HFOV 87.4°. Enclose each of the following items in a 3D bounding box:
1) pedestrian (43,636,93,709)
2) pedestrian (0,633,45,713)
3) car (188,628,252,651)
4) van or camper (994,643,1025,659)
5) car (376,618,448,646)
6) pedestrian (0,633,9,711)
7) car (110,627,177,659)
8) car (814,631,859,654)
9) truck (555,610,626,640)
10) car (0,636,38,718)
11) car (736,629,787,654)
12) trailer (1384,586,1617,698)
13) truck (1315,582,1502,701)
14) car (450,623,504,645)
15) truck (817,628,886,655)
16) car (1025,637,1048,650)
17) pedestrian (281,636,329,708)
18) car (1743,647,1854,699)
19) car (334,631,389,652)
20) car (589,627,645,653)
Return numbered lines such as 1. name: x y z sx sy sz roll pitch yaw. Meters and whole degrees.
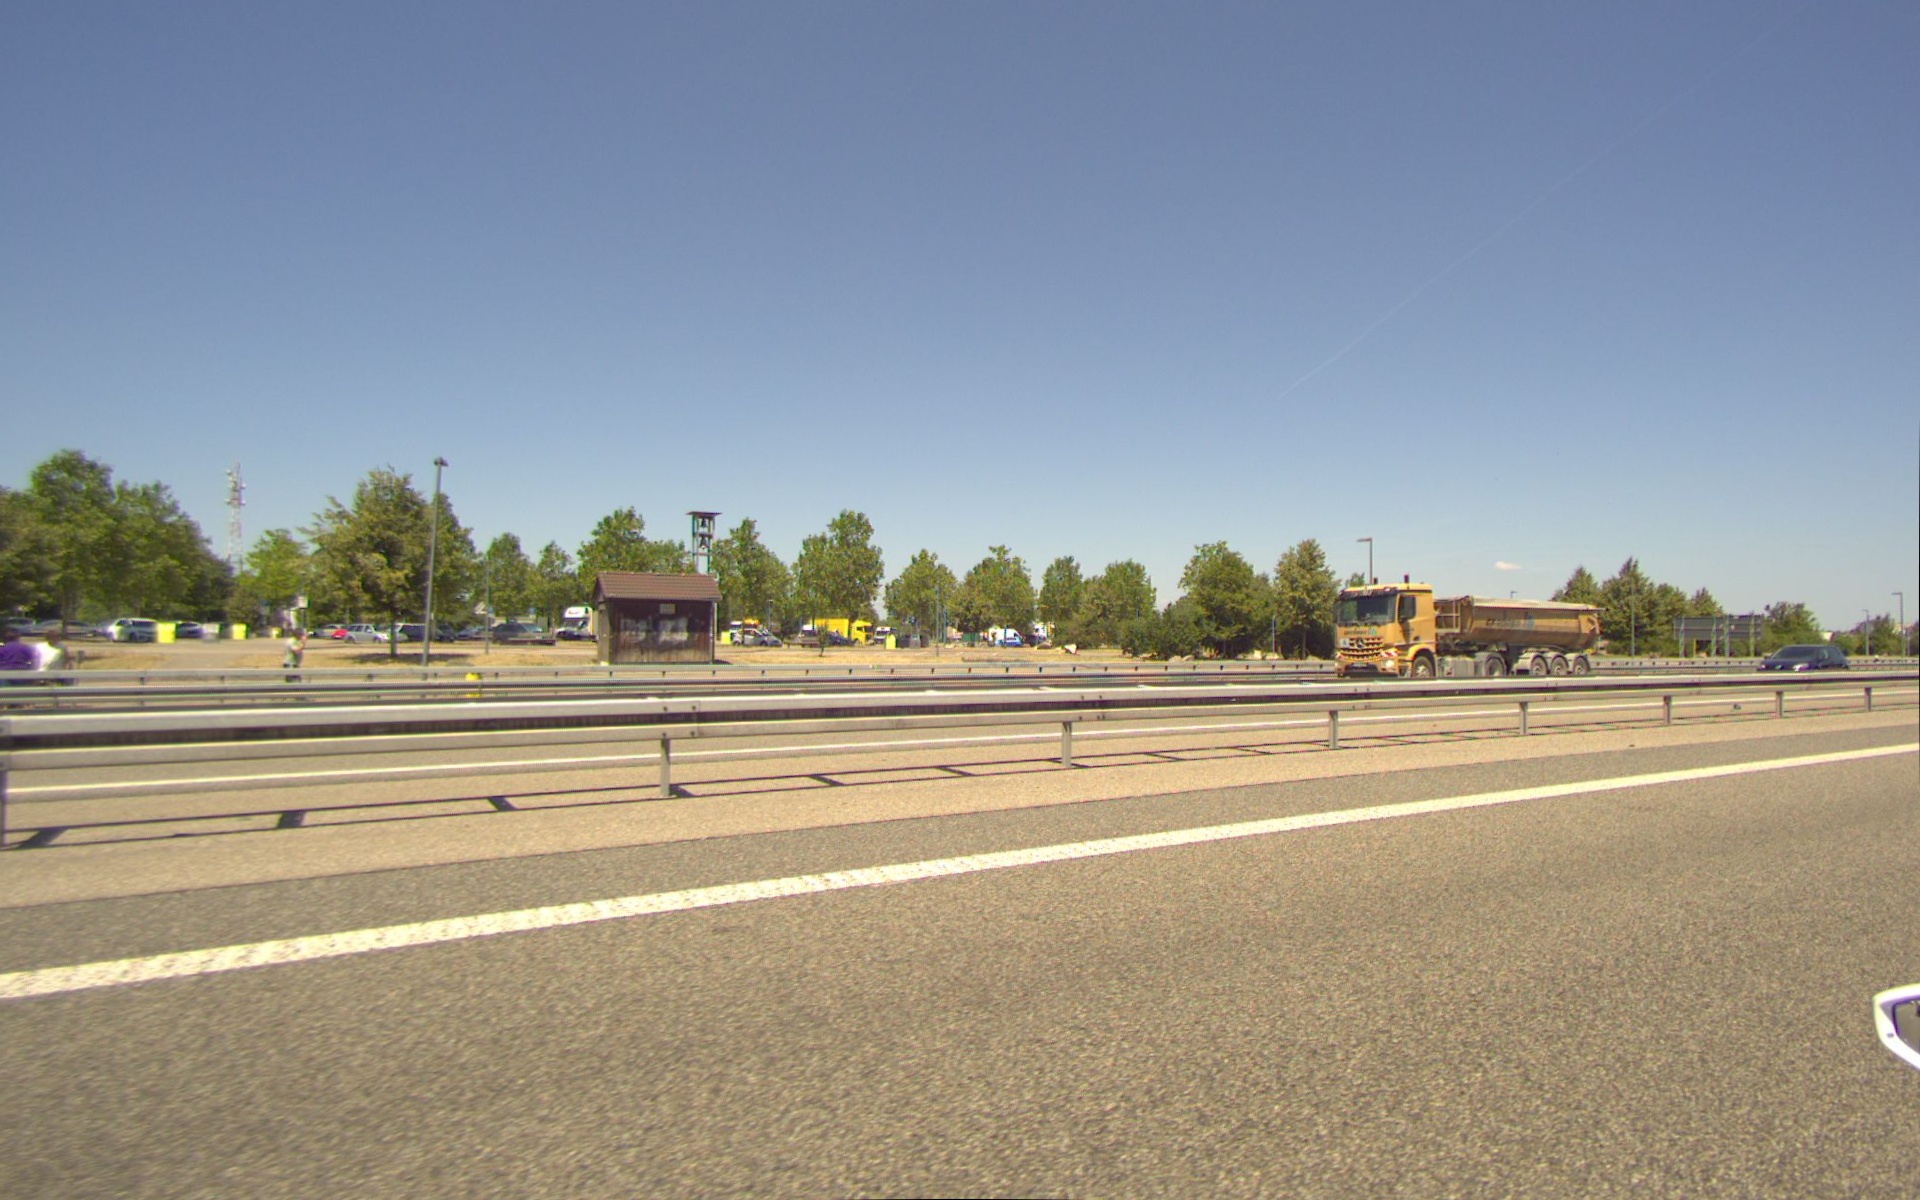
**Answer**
1. pedestrian: -19.713 1.588 22.216 0.752 1.538 0.749 2 0 -38
2. pedestrian: -19.726 1.520 20.994 0.645 1.628 0.643 2 0 -18
3. car: -53.761 2.887 73.021 3.565 1.553 1.547 2 0 -33
4. van or camper: 5.407 5.576 109.529 3.247 1.532 1.403 2 0 6
5. car: -34.257 2.004 62.848 3.672 1.630 1.541 2 0 -44
6. pedestrian: -20.360 1.500 21.005 0.492 1.628 0.472 2 0 -16
7. car: -45.805 2.398 56.337 3.373 1.630 1.560 2 0 25
8. car: -9.571 3.294 78.094 3.214 1.629 1.548 2 0 1
9. truck: -33.299 2.190 90.857 2.097 2.526 6.934 2 0 18
10. car: -22.568 1.635 21.413 3.952 1.693 1.685 2 0 -29
11. car: -14.820 3.114 75.011 3.334 1.693 1.548 2 0 21
12. trailer: 19.187 1.458 35.399 9.261 3.562 2.769 2 0 -30
13. truck: 14.625 1.306 32.695 5.580 3.562 2.769 2 0 -30
14. car: -39.124 2.735 81.383 3.631 1.630 1.558 2 0 -10
15. truck: -11.184 4.242 103.677 6.795 2.526 2.140 2 0 19
16. car: 10.527 5.925 138.194 3.053 1.629 1.461 2 0 6
17. pedestrian: -15.368 1.672 23.579 0.868 1.628 0.669 2 0 -37
18. car: 31.092 2.654 37.229 4.433 1.737 1.737 2 0 -30
19. car: -47.962 3.326 80.544 3.553 1.553 1.553 2 0 -23
20. car: -24.102 2.786 70.594 3.427 1.693 1.697 2 0 24
